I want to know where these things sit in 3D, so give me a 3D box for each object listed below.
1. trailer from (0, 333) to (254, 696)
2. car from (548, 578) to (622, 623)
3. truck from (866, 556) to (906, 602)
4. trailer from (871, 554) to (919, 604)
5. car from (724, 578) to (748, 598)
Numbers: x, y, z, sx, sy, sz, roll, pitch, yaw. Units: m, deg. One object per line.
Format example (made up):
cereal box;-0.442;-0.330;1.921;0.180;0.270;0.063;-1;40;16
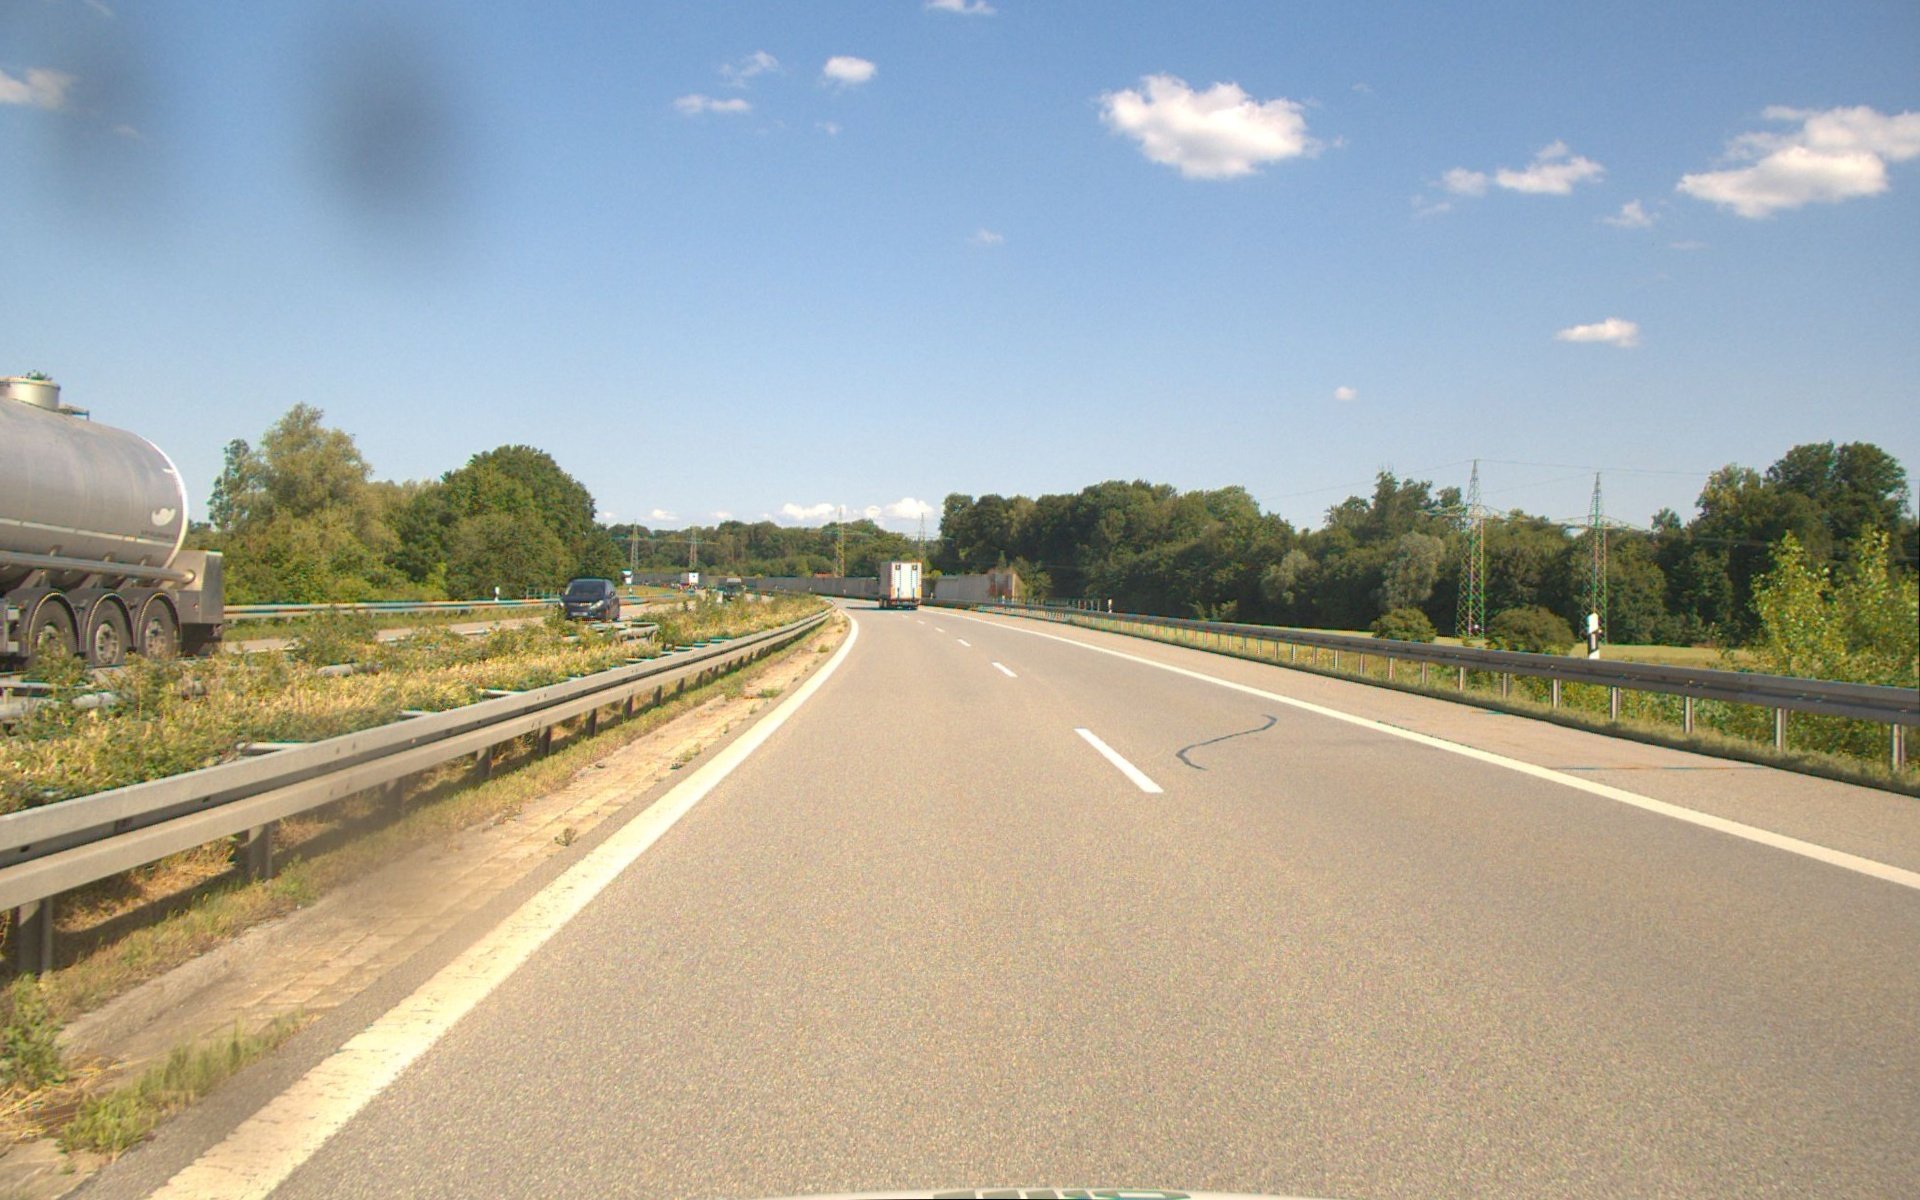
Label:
trailer;-11.428;-0.904;18.593;2.686;3.792;10.908;0;0;-2
car;-13.755;-0.008;60.937;1.954;1.582;4.417;0;1;-3
truck;-6.703;-1.859;149.328;2.779;4.082;6.572;0;0;-10
trailer;-5.685;-1.789;142.460;2.830;4.137;12.397;0;1;-8
car;-19.826;-1.105;146.569;1.955;1.708;5.310;-1;1;-6
